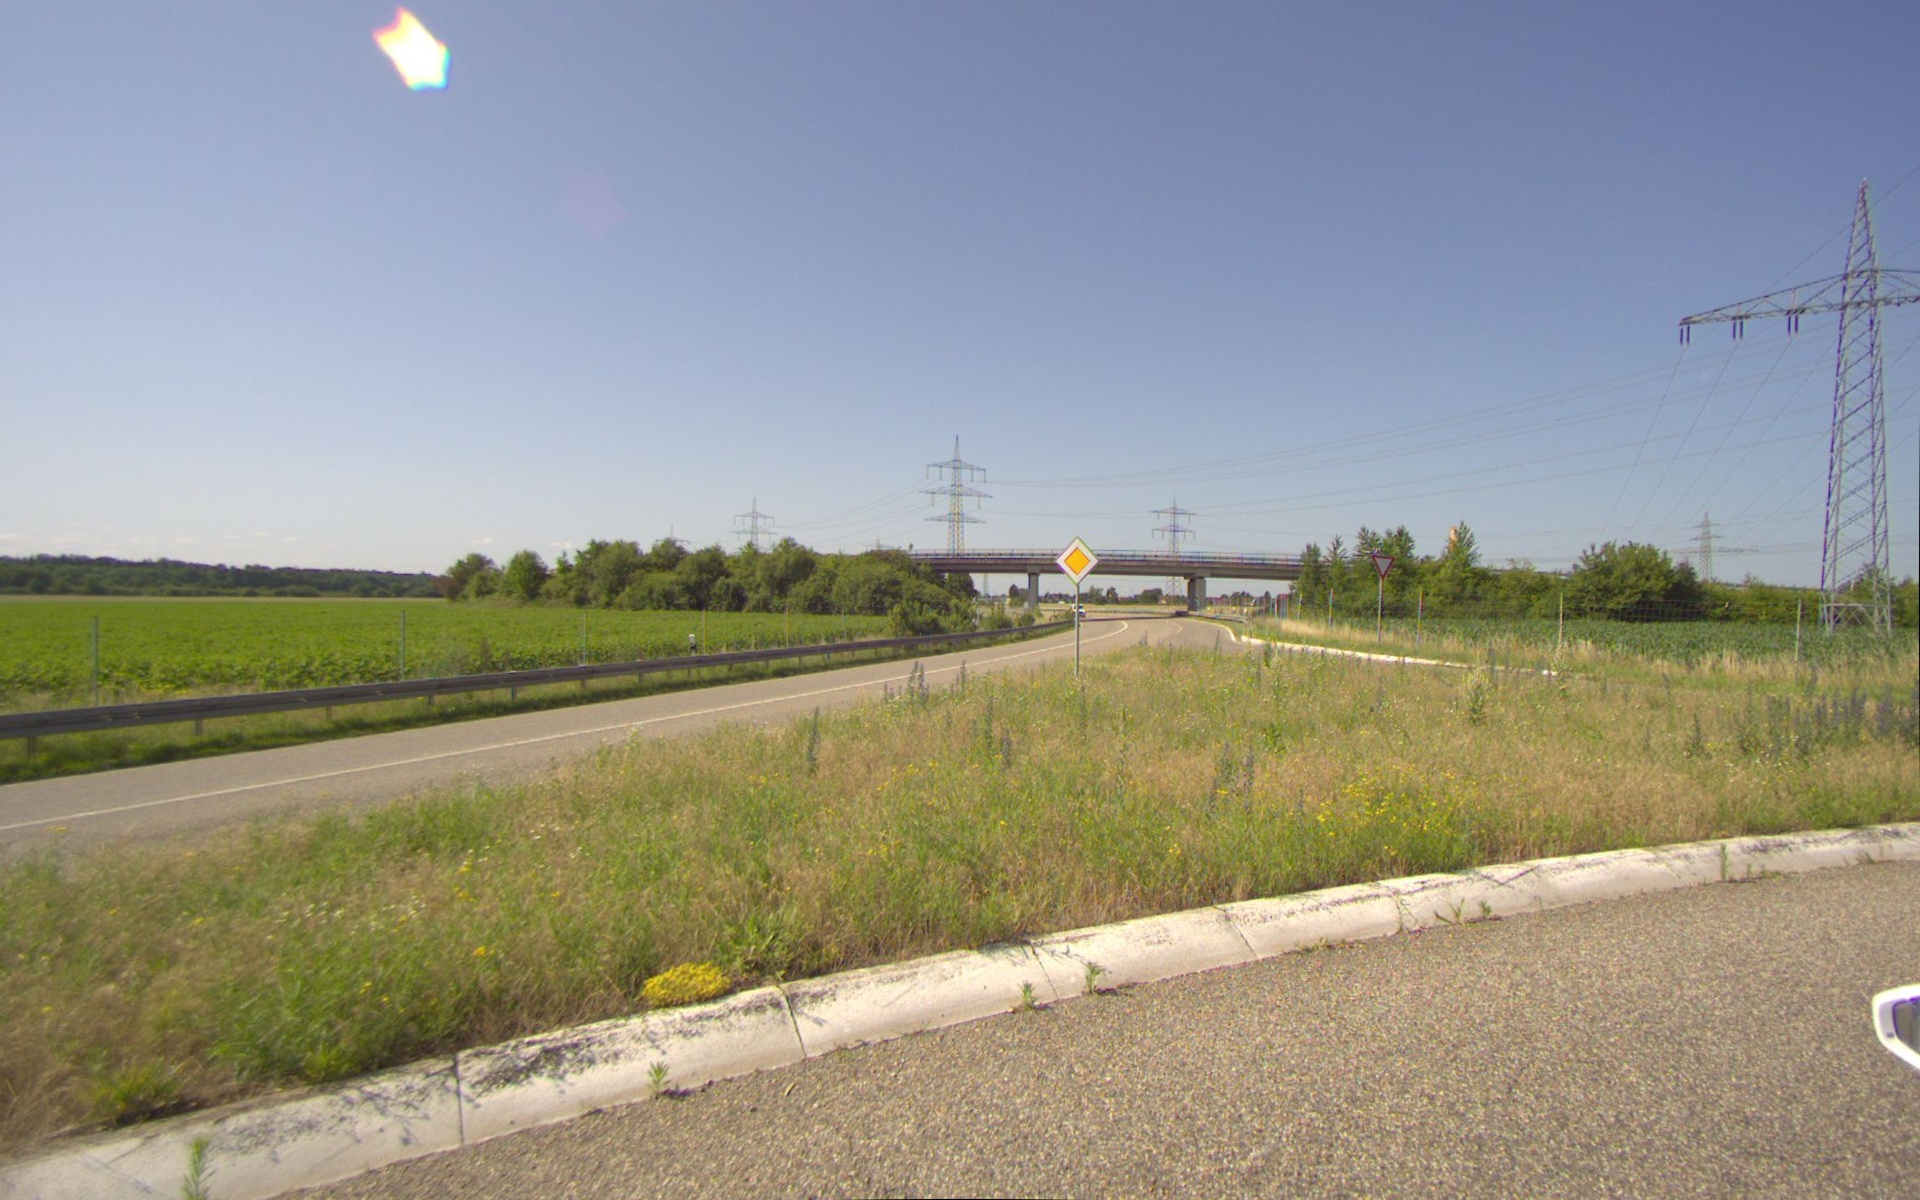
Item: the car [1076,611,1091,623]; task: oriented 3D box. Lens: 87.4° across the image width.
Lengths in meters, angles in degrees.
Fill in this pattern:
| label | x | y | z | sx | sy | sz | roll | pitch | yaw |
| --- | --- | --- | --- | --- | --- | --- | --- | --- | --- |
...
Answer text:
| label | x | y | z | sx | sy | sz | roll | pitch | yaw |
| --- | --- | --- | --- | --- | --- | --- | --- | --- | --- |
| car | 18.172 | 2.499 | 148.038 | 2.059 | 1.662 | 5.356 | 0 | 1 | 7 |
